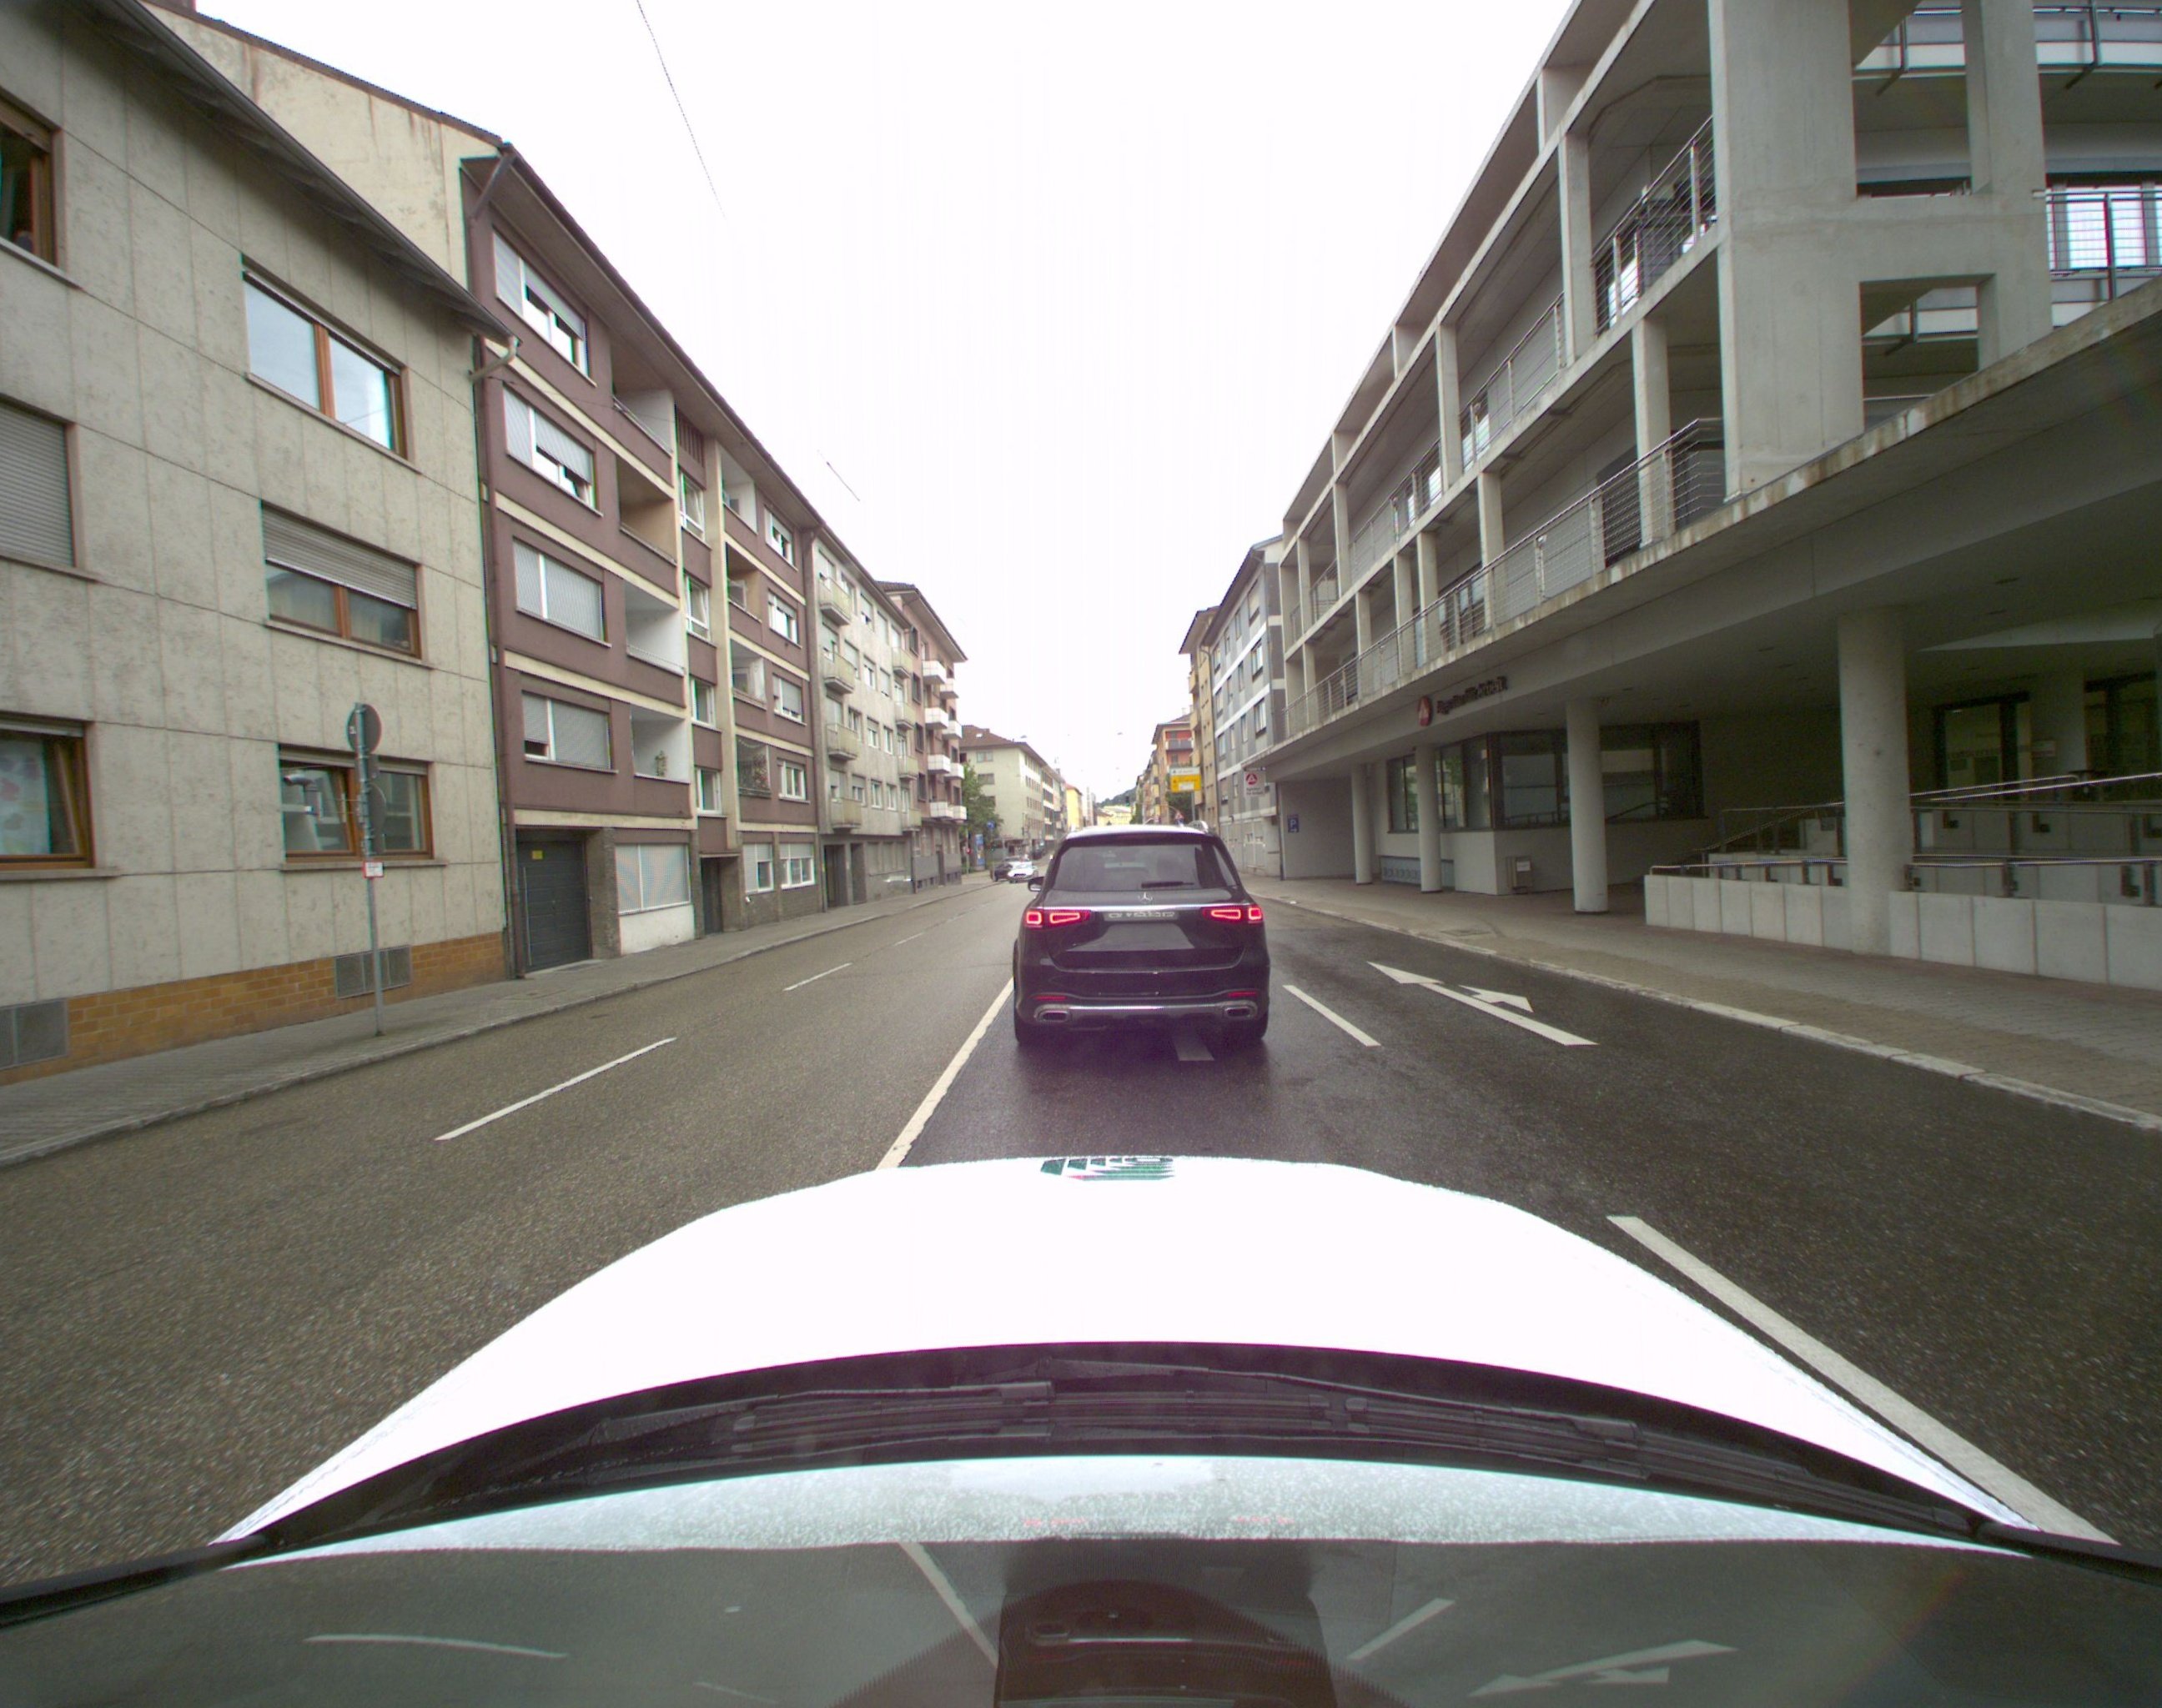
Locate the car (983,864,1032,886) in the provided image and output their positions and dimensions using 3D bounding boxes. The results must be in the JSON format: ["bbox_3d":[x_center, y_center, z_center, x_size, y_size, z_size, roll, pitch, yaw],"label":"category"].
[{"bbox_3d":[-6.401,1.817,70.318,2.011,1.706,4.314,-3,0,-41],"label":"car"}]

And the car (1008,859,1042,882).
[{"bbox_3d":[-4.155,1.215,60.796,1.764,1.539,4.364,-5,-1,4],"label":"car"}]

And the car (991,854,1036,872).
[{"bbox_3d":[-6.832,0.905,83.028,4.182,1.539,1.824,-5,-1,7],"label":"car"}]

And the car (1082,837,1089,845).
[{"bbox_3d":[1.118,-3.086,193.833,1.613,1.539,4.216,-4,-1,0],"label":"car"}]

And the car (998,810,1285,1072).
[{"bbox_3d":[0.486,0.628,7.840,1.977,1.805,4.391,0,-1,2],"label":"car"}]

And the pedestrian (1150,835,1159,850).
[{"bbox_3d":[9.823,-1.550,108.972,0.920,2.013,0.706,-3,0,0],"label":"pedestrian"}]

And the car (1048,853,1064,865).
[{"bbox_3d":[-3.044,0.632,99.932,1.879,1.264,4.216,-4,-1,-1],"label":"car"}]

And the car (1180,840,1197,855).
[{"bbox_3d":[12.447,-0.755,94.366,1.664,1.588,3.334,-3,0,4],"label":"car"}]

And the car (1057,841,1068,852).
[{"bbox_3d":[-2.994,-1.176,131.819,1.613,1.539,4.216,-4,-1,0],"label":"car"}]

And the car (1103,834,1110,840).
[{"bbox_3d":[6.924,-4.580,222.055,1.613,1.539,4.216,-4,-1,0],"label":"car"}]

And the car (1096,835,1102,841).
[{"bbox_3d":[5.504,-5.043,250.322,1.613,1.539,4.216,-4,-1,0],"label":"car"}]

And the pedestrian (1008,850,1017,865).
[{"bbox_3d":[-8.601,0.422,102.345,0.920,1.902,0.706,-3,0,0],"label":"pedestrian"}]

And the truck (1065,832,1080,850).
[{"bbox_3d":[-1.642,-2.494,157.238,2.472,3.046,9.916,-4,-1,0],"label":"truck"}]

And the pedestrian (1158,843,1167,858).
[{"bbox_3d":[10.205,-0.386,101.902,0.920,1.804,0.706,-3,0,0],"label":"pedestrian"}]

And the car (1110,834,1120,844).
[{"bbox_3d":[6.904,-3.084,167.251,1.718,1.760,4.216,-4,-2,0],"label":"car"}]
